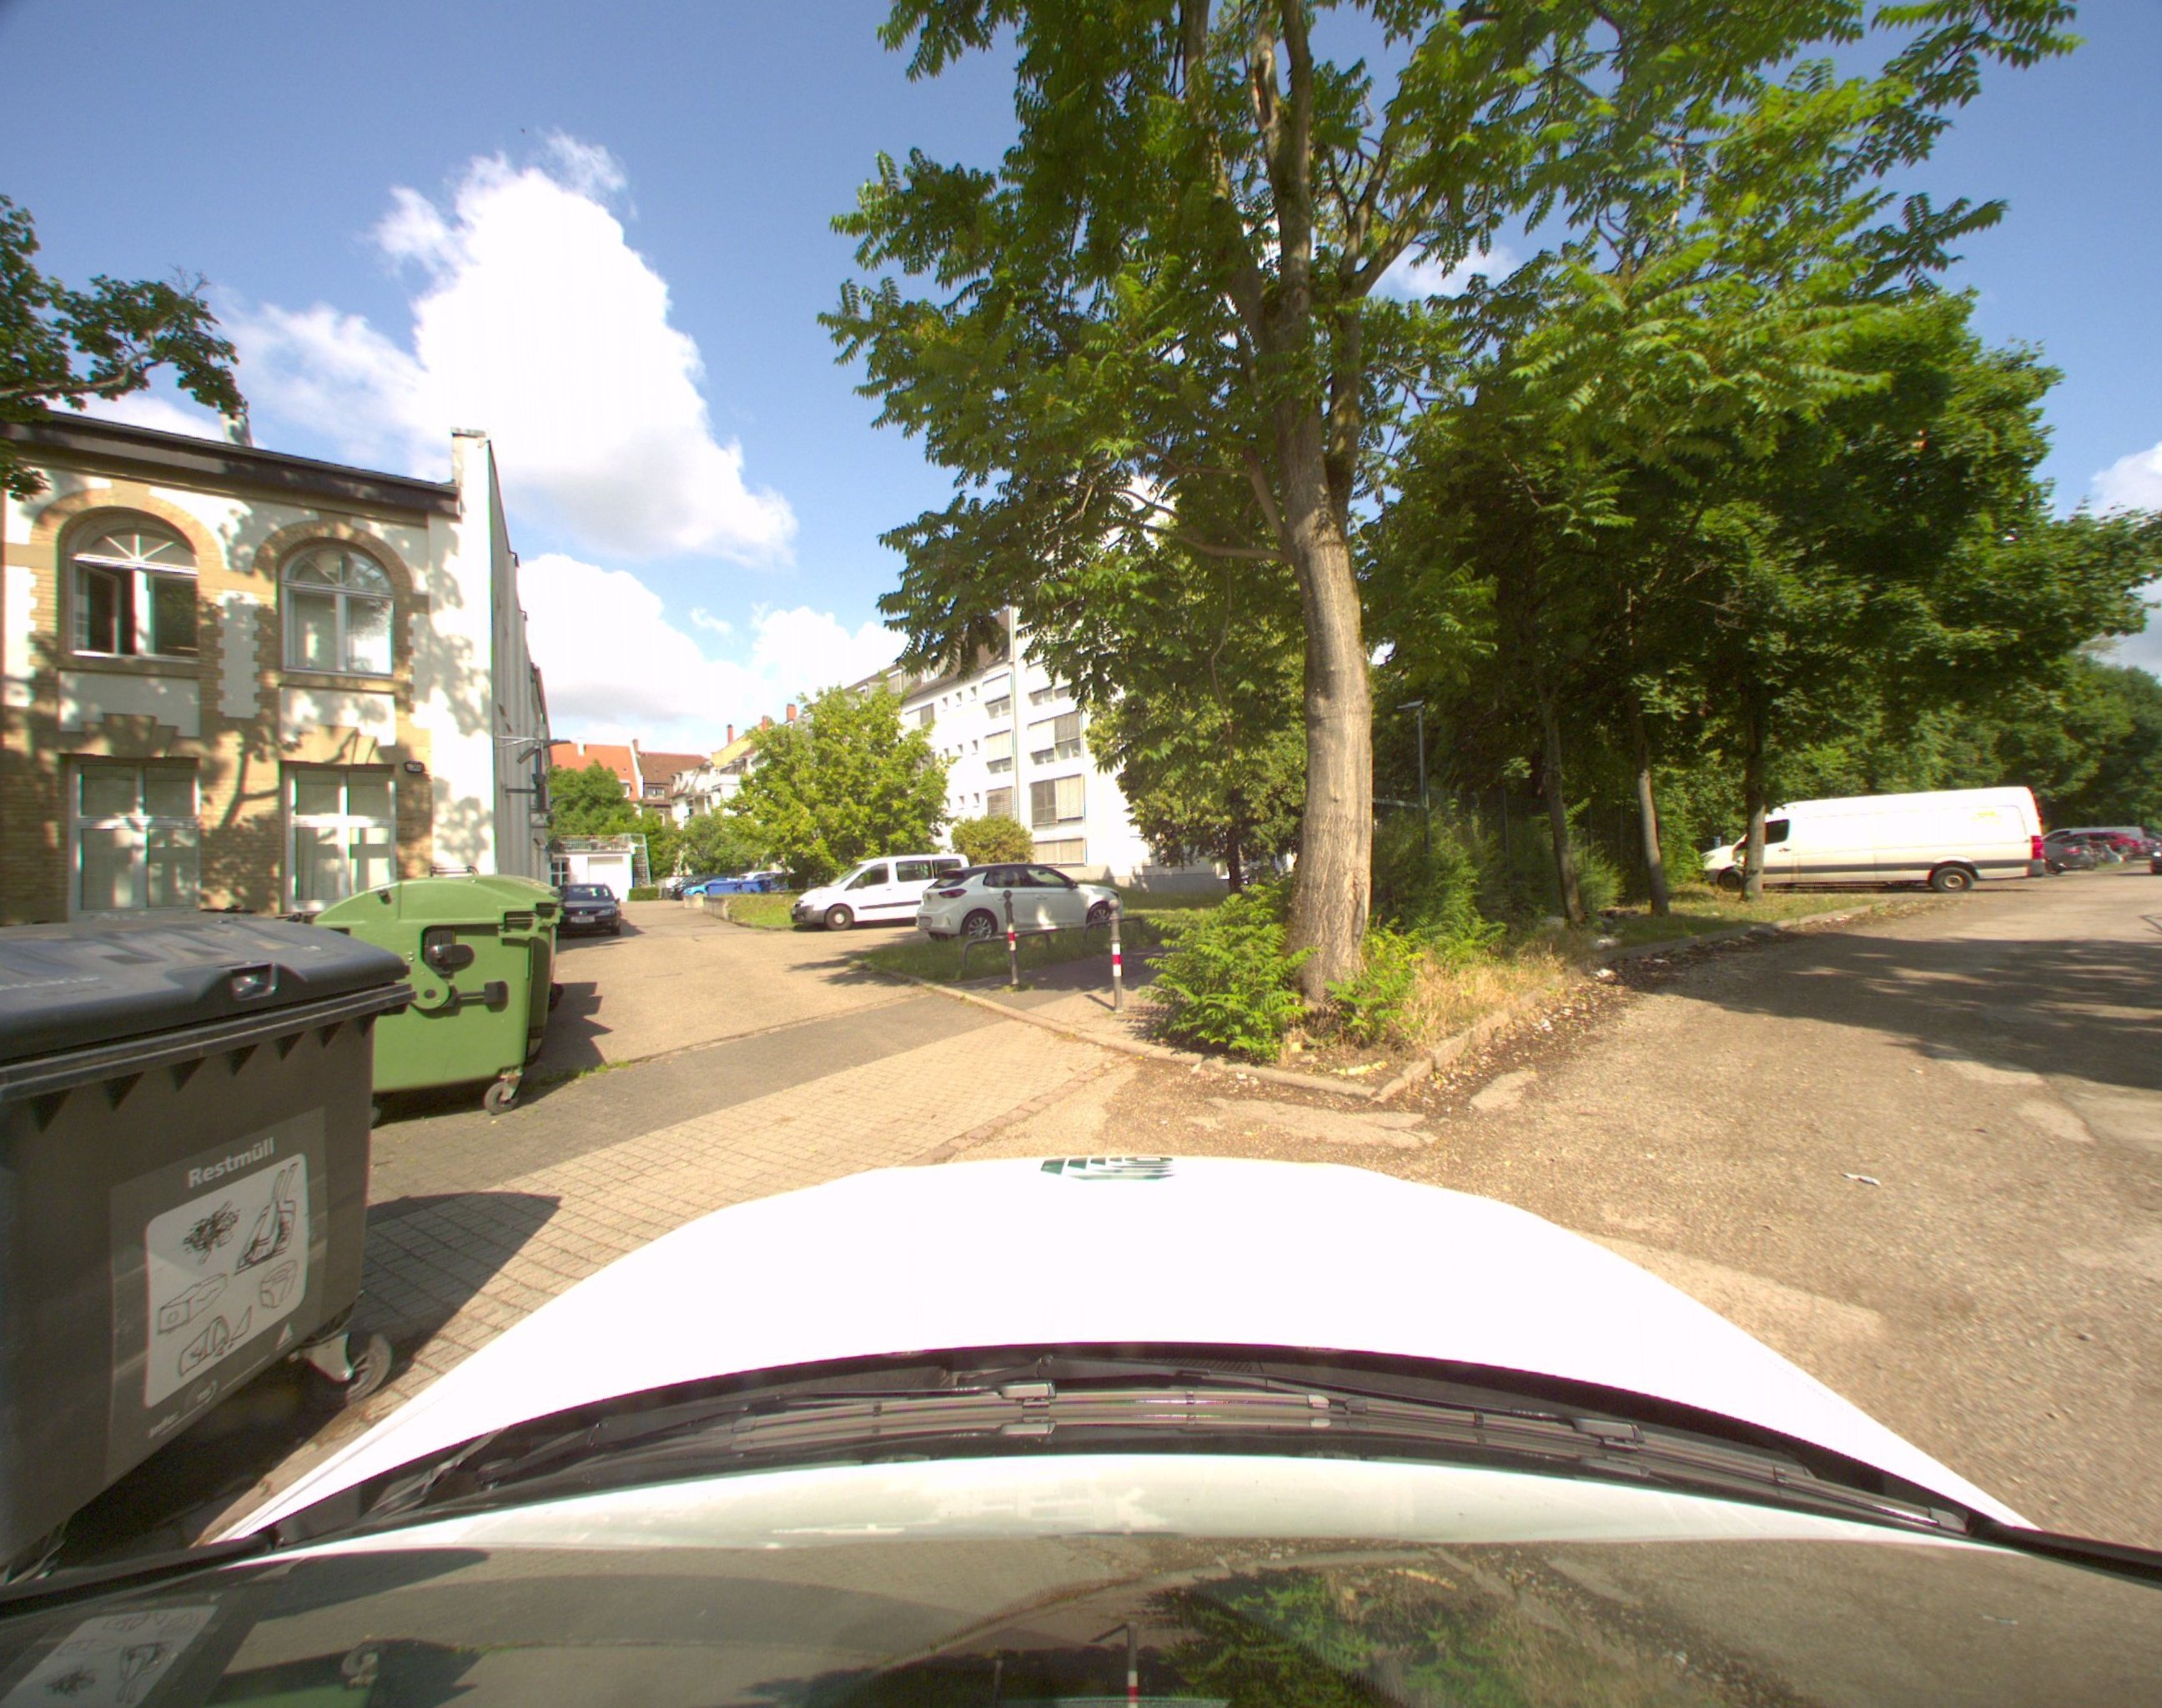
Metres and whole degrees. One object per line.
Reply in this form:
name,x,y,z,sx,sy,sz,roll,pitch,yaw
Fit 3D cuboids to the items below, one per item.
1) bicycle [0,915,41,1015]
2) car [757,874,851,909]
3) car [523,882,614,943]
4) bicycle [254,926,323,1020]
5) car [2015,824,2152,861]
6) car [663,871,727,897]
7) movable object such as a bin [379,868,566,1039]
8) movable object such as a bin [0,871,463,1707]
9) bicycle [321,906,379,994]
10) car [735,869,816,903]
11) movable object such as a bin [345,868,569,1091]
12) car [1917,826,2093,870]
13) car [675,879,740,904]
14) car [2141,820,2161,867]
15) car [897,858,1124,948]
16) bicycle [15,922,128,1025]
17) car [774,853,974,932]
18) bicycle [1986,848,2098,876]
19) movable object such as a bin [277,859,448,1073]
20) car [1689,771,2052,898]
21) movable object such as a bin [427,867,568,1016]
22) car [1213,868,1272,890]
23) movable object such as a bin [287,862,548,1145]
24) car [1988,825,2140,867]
bicycle,-13.313,1.389,9.823,0.359,1.143,1.840,3,0,-34
car,-13.991,1.903,41.229,4.145,1.606,1.735,2,0,-38
car,-13.956,1.513,22.202,1.892,1.442,4.296,2,-2,-32
bicycle,-10.914,1.593,11.255,0.321,1.037,1.840,3,-1,-34
car,58.748,-0.689,47.827,1.850,2.014,4.821,2,0,-31
car,-28.966,2.291,61.152,4.018,1.817,1.645,2,0,-38
movable object such as a bin,-5.749,0.882,7.830,1.231,1.452,1.270,2,-2,-30
movable object such as a bin,-2.510,0.799,1.907,1.247,1.482,1.290,-1,-1,-13
bicycle,-10.370,1.321,11.586,0.321,1.037,1.840,3,-1,-34
car,-17.699,1.815,47.231,4.019,1.745,1.928,0,2,-38
movable object such as a bin,-4.848,0.871,6.330,1.218,1.451,1.110,2,0,41
car,32.887,-0.241,29.080,1.852,1.428,3.957,2,0,-35
car,-27.015,2.682,58.916,4.019,1.573,1.611,-1,3,-38
car,36.414,-0.294,26.468,4.011,1.428,1.827,2,0,-30
car,-1.280,0.832,15.380,3.931,1.420,1.741,-1,1,-34
bicycle,-12.740,1.464,10.326,0.321,1.037,1.840,3,-1,-34
car,-5.617,0.972,22.319,4.971,1.965,1.980,0,-1,-31
bicycle,39.163,0.308,33.241,1.021,0.991,2.857,2,0,-33
movable object such as a bin,-5.591,0.797,6.417,0.884,1.451,1.220,3,0,-39
car,21.320,-0.624,22.582,6.888,3.047,2.012,3,2,42
movable object such as a bin,-6.419,0.909,9.067,1.106,1.451,1.330,2,0,-31
car,11.319,1.714,56.891,3.930,1.420,1.741,-1,1,-32
movable object such as a bin,-4.166,0.810,5.165,1.108,1.451,1.327,3,0,-40
car,51.053,-0.437,42.421,1.850,2.014,4.821,2,0,-31
